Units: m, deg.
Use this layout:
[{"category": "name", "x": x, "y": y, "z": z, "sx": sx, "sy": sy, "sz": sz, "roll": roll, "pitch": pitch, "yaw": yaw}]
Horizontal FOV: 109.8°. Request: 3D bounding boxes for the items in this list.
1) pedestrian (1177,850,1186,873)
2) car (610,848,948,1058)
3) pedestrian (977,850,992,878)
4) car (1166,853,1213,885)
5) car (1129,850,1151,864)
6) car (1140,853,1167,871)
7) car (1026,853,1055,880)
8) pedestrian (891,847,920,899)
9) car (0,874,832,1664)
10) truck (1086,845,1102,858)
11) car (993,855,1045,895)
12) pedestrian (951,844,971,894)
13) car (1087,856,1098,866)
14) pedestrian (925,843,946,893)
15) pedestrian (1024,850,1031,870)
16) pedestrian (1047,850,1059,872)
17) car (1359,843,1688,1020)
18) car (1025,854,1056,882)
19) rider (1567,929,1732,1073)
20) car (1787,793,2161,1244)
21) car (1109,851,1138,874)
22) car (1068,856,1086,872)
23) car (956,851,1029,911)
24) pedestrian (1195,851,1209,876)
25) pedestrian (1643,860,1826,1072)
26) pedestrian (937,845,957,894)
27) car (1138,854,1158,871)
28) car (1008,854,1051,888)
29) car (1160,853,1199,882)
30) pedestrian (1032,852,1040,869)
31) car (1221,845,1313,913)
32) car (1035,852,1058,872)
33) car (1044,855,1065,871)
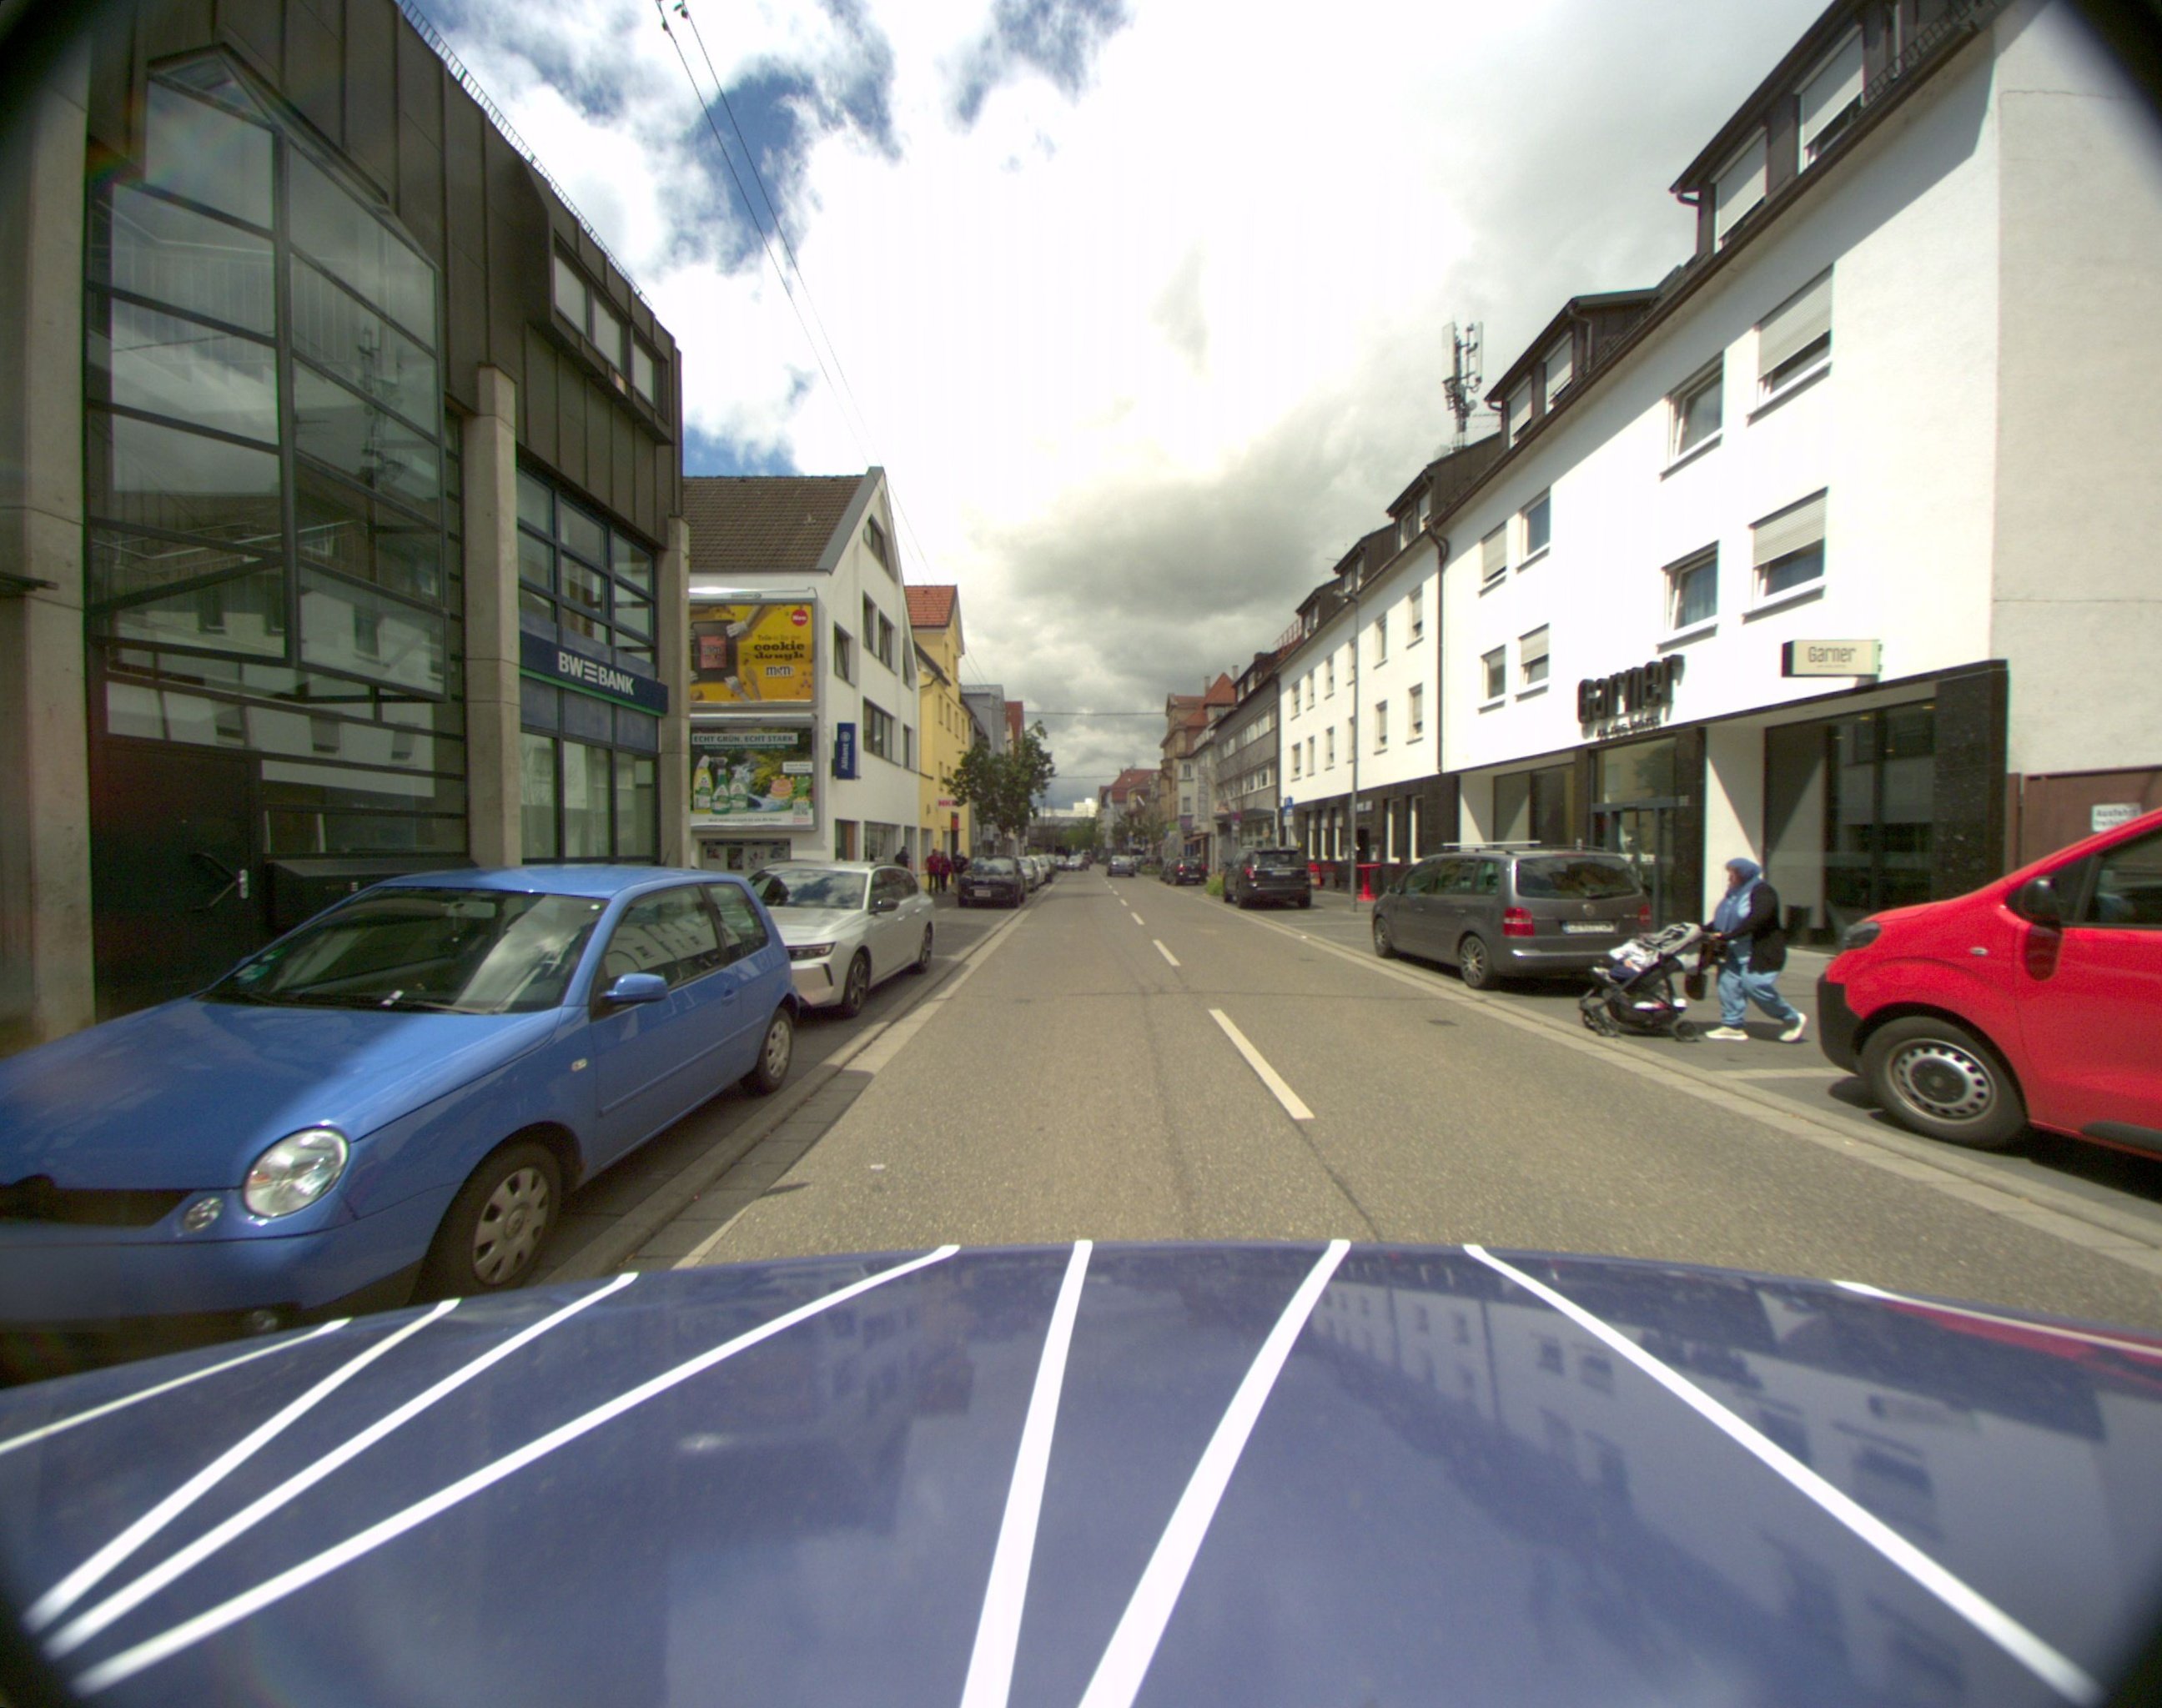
[{"category": "pedestrian", "x": 7.678, "y": 0.546, "z": 57.983, "sx": 0.549, "sy": 1.747, "sz": 0.728, "roll": -2, "pitch": 1, "yaw": -3}, {"category": "car", "x": -2.843, "y": 0.845, "z": 8.369, "sx": 1.725, "sy": 1.567, "sz": 4.430, "roll": -5, "pitch": -1, "yaw": 2}, {"category": "pedestrian", "x": -5.357, "y": 0.554, "z": 42.110, "sx": 0.751, "sy": 1.544, "sz": 0.726, "roll": 0, "pitch": 1, "yaw": 0}, {"category": "car", "x": 5.604, "y": 0.733, "z": 39.788, "sx": 1.795, "sy": 1.495, "sz": 4.177, "roll": -2, "pitch": 1, "yaw": 0}, {"category": "car", "x": 6.197, "y": 0.287, "z": 80.410, "sx": 1.851, "sy": 1.390, "sz": 4.035, "roll": -2, "pitch": 1, "yaw": -3}, {"category": "car", "x": 6.135, "y": 0.640, "z": 64.418, "sx": 1.602, "sy": 1.437, "sz": 3.554, "roll": 0, "pitch": 0, "yaw": -7}, {"category": "car", "x": -2.585, "y": 0.773, "z": 49.423, "sx": 1.693, "sy": 1.565, "sz": 3.755, "roll": -2, "pitch": 1, "yaw": -1}, {"category": "pedestrian", "x": -6.047, "y": 0.639, "z": 26.264, "sx": 0.743, "sy": 1.727, "sz": 0.757, "roll": -2, "pitch": 1, "yaw": 1}, {"category": "car", "x": -2.818, "y": 0.952, "z": 3.654, "sx": 1.725, "sy": 1.485, "sz": 4.109, "roll": -2, "pitch": 1, "yaw": 2}, {"category": "truck", "x": 2.346, "y": -0.525, "z": 140.373, "sx": 2.112, "sy": 2.292, "sz": 6.472, "roll": -2, "pitch": 1, "yaw": -5}, {"category": "car", "x": -2.588, "y": 0.835, "z": 32.512, "sx": 1.725, "sy": 1.467, "sz": 4.353, "roll": -2, "pitch": 1, "yaw": 1}, {"category": "pedestrian", "x": -4.442, "y": 0.551, "z": 28.197, "sx": 0.589, "sy": 1.830, "sz": 0.576, "roll": -2, "pitch": 2, "yaw": 1}, {"category": "car", "x": 1.867, "y": 1.070, "z": 123.370, "sx": 1.536, "sy": 1.521, "sz": 3.757, "roll": -2, "pitch": 1, "yaw": -3}, {"category": "pedestrian", "x": -5.413, "y": 0.525, "z": 28.237, "sx": 0.589, "sy": 1.830, "sz": 0.576, "roll": -2, "pitch": 2, "yaw": 1}, {"category": "pedestrian", "x": -4.784, "y": 0.531, "z": 67.715, "sx": 0.537, "sy": 1.708, "sz": 0.606, "roll": -2, "pitch": 2, "yaw": -1}, {"category": "pedestrian", "x": -2.476, "y": 0.598, "z": 66.162, "sx": 0.978, "sy": 1.853, "sz": 0.864, "roll": 1, "pitch": 1, "yaw": -1}, {"category": "car", "x": 5.324, "y": 0.760, "z": 9.971, "sx": 1.820, "sy": 1.745, "sz": 4.463, "roll": -2, "pitch": 1, "yaw": 2}, {"category": "car", "x": -2.299, "y": 0.829, "z": 43.888, "sx": 1.694, "sy": 1.463, "sz": 4.523, "roll": -2, "pitch": -1, "yaw": -2}, {"category": "rider", "x": 4.555, "y": 1.157, "z": 6.138, "sx": 0.805, "sy": 1.007, "sz": 0.707, "roll": -2, "pitch": 1, "yaw": 3}, {"category": "car", "x": 5.409, "y": 0.671, "z": 2.378, "sx": 1.821, "sy": 1.878, "sz": 4.839, "roll": -2, "pitch": 1, "yaw": -2}, {"category": "car", "x": 3.022, "y": 0.599, "z": 55.216, "sx": 1.910, "sy": 1.554, "sz": 4.645, "roll": 0, "pitch": 1, "yaw": 1}, {"category": "car", "x": -0.401, "y": 0.996, "z": 75.511, "sx": 1.724, "sy": 1.517, "sz": 3.598, "roll": 0, "pitch": 0, "yaw": 1}, {"category": "car", "x": -2.615, "y": 0.742, "z": 23.338, "sx": 1.725, "sy": 1.568, "sz": 4.108, "roll": -2, "pitch": 1, "yaw": 0}, {"category": "pedestrian", "x": 8.193, "y": 0.634, "z": 51.388, "sx": 0.733, "sy": 1.609, "sz": 0.651, "roll": -2, "pitch": 1, "yaw": -4}, {"category": "pedestrian", "x": 5.236, "y": 0.857, "z": 6.139, "sx": 0.807, "sy": 1.565, "sz": 0.779, "roll": -2, "pitch": 1, "yaw": 3}, {"category": "pedestrian", "x": -5.078, "y": 0.583, "z": 28.910, "sx": 0.589, "sy": 1.830, "sz": 0.576, "roll": -2, "pitch": 2, "yaw": 1}, {"category": "car", "x": 6.055, "y": 0.751, "z": 69.145, "sx": 1.590, "sy": 1.406, "sz": 3.668, "roll": -2, "pitch": 1, "yaw": 1}, {"category": "car", "x": -2.515, "y": 0.822, "z": 38.200, "sx": 1.634, "sy": 1.467, "sz": 4.957, "roll": -2, "pitch": 1, "yaw": 2}, {"category": "car", "x": 5.861, "y": 0.750, "z": 45.694, "sx": 1.794, "sy": 1.504, "sz": 4.712, "roll": -2, "pitch": 1, "yaw": 1}, {"category": "pedestrian", "x": -4.786, "y": 0.682, "z": 80.925, "sx": 0.745, "sy": 1.708, "sz": 0.655, "roll": 0, "pitch": 1, "yaw": -1}, {"category": "car", "x": 5.405, "y": 0.651, "z": 22.683, "sx": 1.820, "sy": 1.745, "sz": 4.669, "roll": -2, "pitch": 1, "yaw": 3}, {"category": "car", "x": -2.822, "y": 0.616, "z": 63.340, "sx": 1.804, "sy": 1.594, "sz": 4.203, "roll": 1, "pitch": 0, "yaw": -1}, {"category": "car", "x": -2.659, "y": 0.862, "z": 76.779, "sx": 1.711, "sy": 1.412, "sz": 4.318, "roll": -2, "pitch": 1, "yaw": 3}]
